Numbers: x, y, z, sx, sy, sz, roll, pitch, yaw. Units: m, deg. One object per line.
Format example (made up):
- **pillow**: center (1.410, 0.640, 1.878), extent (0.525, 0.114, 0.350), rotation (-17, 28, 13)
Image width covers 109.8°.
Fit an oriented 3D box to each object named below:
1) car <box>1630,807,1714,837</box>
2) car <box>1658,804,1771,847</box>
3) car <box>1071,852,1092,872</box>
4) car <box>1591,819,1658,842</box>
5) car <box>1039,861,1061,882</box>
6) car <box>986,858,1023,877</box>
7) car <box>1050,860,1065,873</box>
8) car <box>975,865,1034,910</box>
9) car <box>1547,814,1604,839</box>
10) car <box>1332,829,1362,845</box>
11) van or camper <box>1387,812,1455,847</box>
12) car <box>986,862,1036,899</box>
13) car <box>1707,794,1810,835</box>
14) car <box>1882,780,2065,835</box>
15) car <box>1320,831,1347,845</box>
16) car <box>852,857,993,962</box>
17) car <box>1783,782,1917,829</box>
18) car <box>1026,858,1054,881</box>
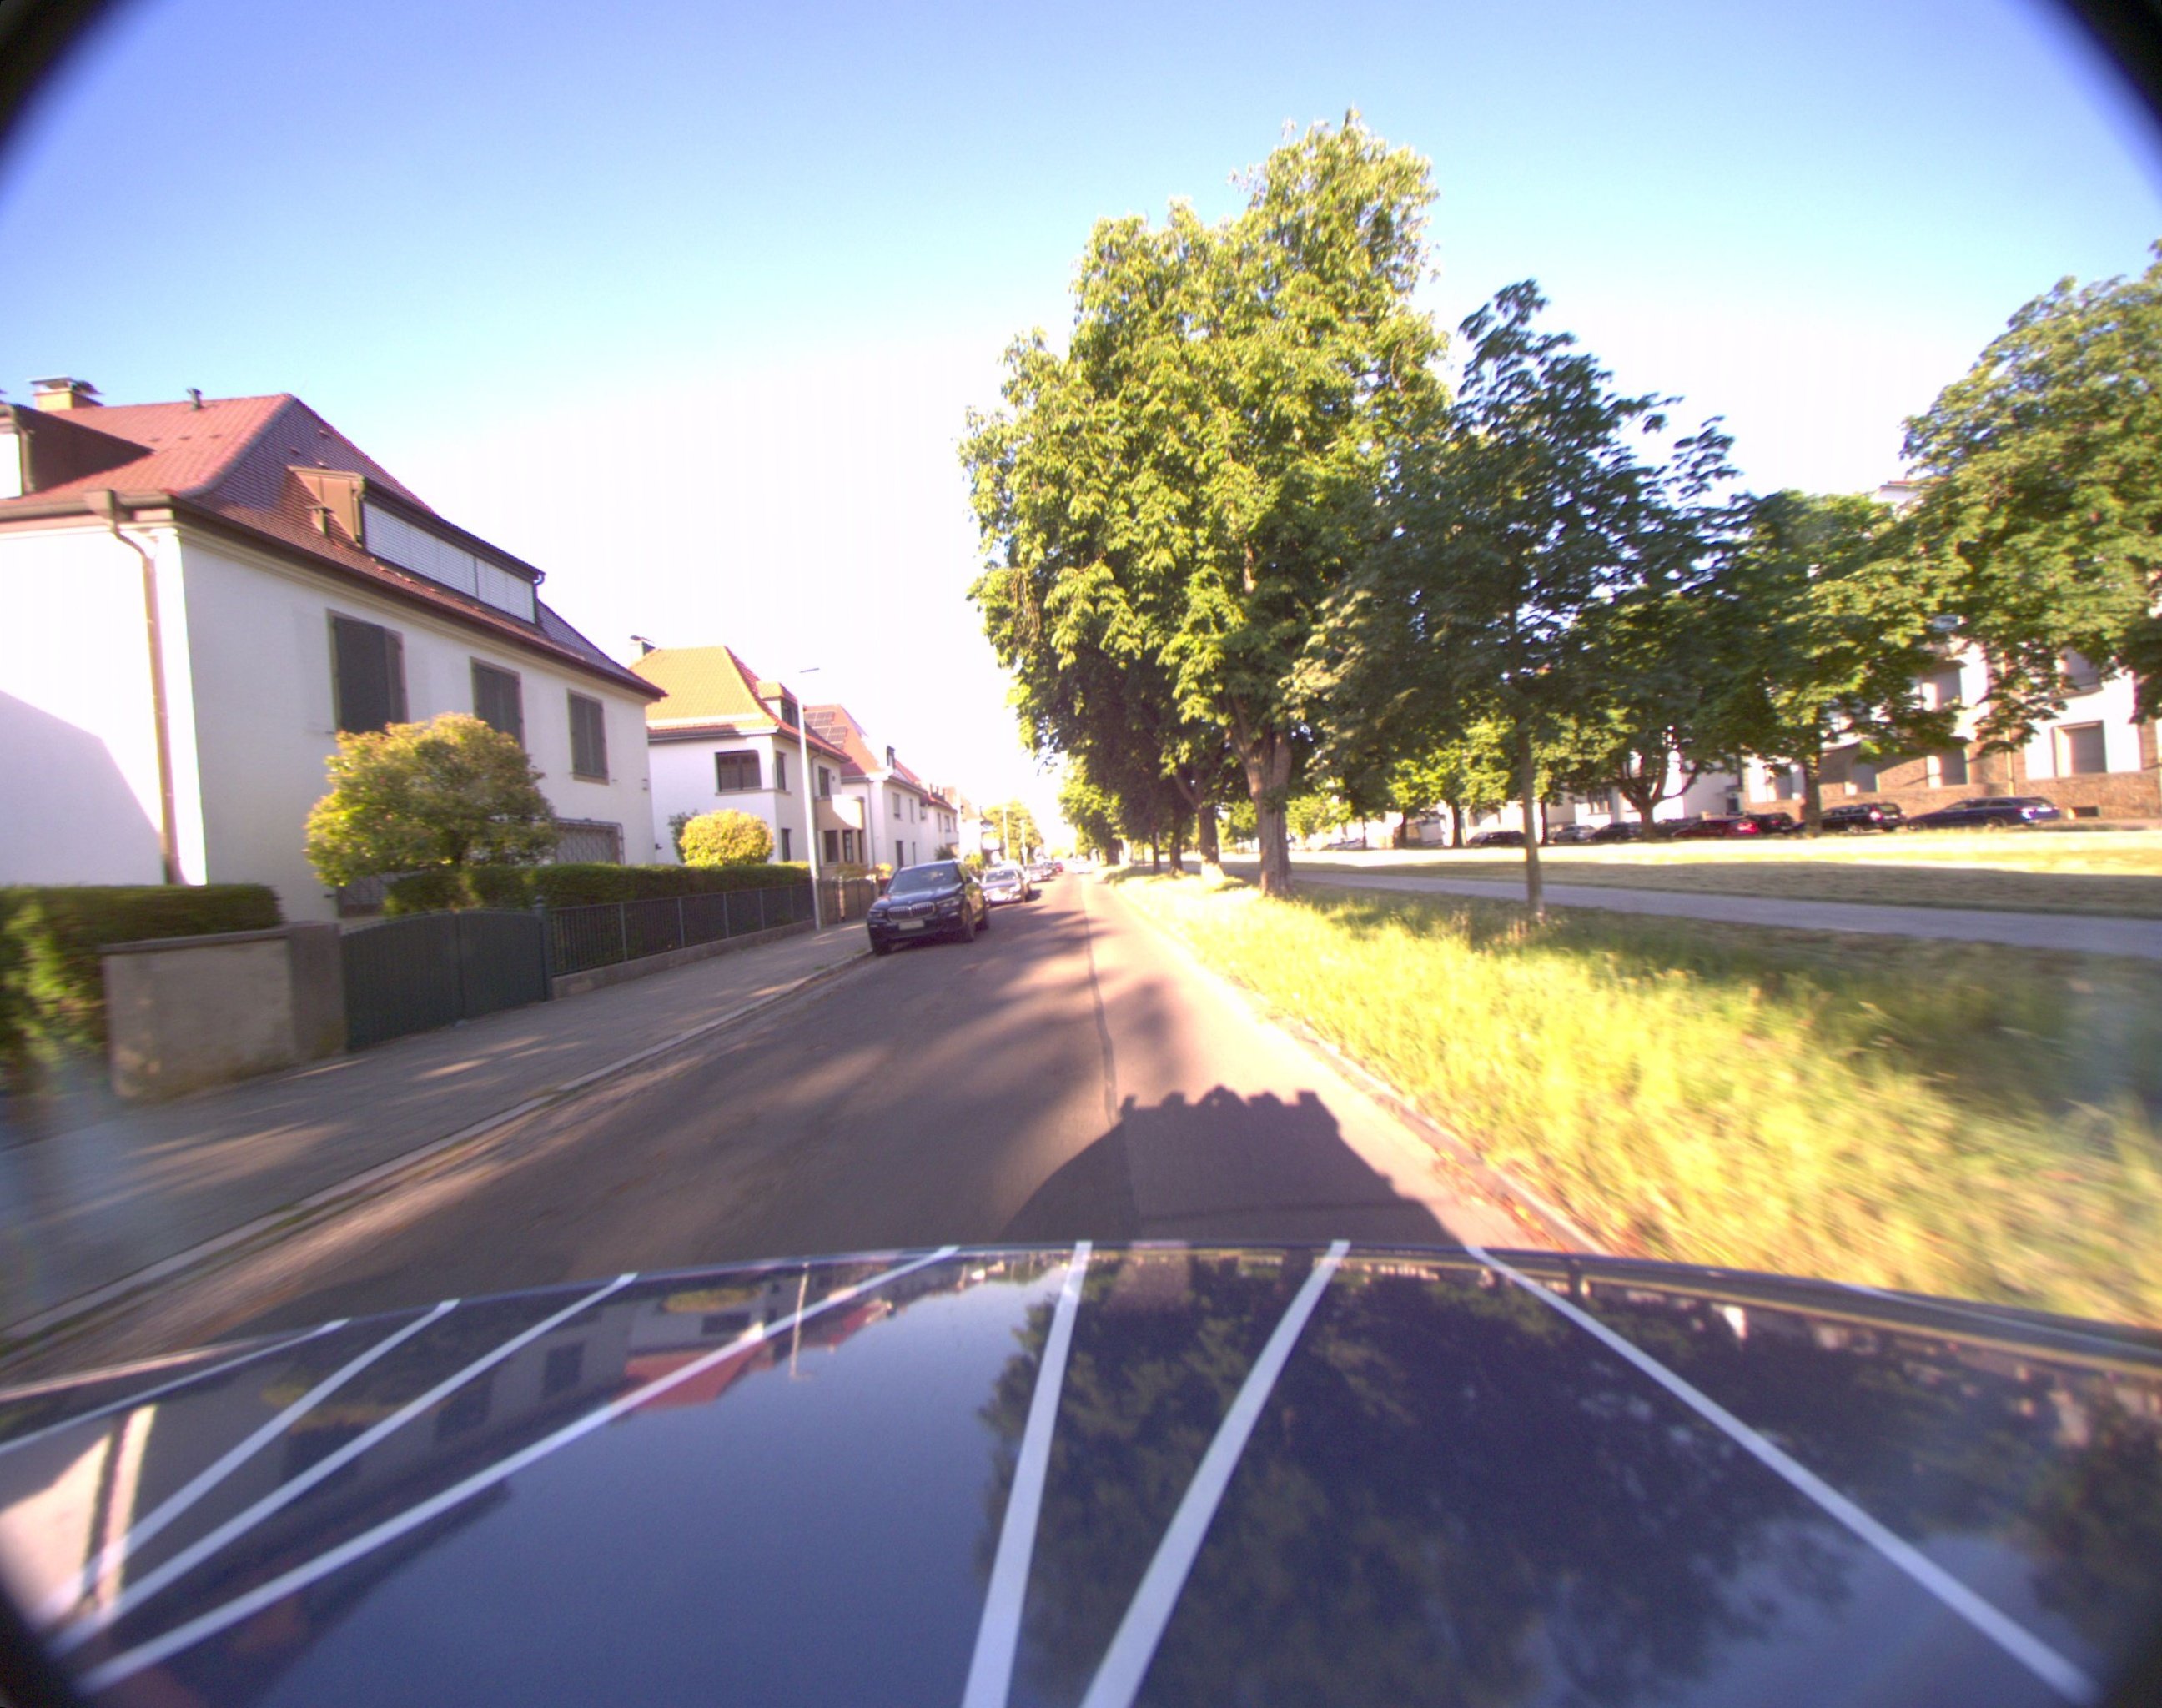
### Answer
- **car**: center (39.590, -2.120, 51.053), extent (1.999, 1.643, 4.429), rotation (-4, 0, -1)
- **car**: center (33.940, -1.445, 40.923), extent (1.998, 2.002, 4.876), rotation (-4, 0, 2)
- **car**: center (0.056, 0.826, 81.250), extent (1.998, 2.002, 4.000), rotation (-4, 0, 0)
- **car**: center (39.998, -1.693, 56.027), extent (1.998, 1.421, 4.170), rotation (-4, -1, 2)
- **car**: center (-3.024, 1.675, 74.288), extent (1.863, 1.710, 4.467), rotation (-9, 0, -2)
- **car**: center (-8.624, 1.530, 85.855), extent (3.998, 1.916, 2.000), rotation (-4, 0, -3)
- **car**: center (-3.095, 1.619, 100.342), extent (1.824, 1.486, 4.224), rotation (-4, 0, -1)
- **car**: center (-3.011, 1.283, 30.693), extent (1.784, 1.454, 4.594), rotation (-6, 0, 0)
- **car**: center (39.601, -2.141, 60.943), extent (1.998, 1.724, 4.001), rotation (-4, 0, 2)
- **car**: center (33.674, -2.137, 96.373), extent (1.998, 1.680, 4.876), rotation (-4, 0, 1)
- **van or camper**: center (34.085, -2.398, 76.572), extent (3.262, 3.092, 7.897), rotation (-4, 0, 1)
- **car**: center (-3.340, 1.228, 37.049), extent (1.999, 1.455, 4.549), rotation (-7, 0, -2)
- **car**: center (39.647, -2.268, 44.630), extent (1.999, 2.002, 4.429), rotation (-4, 0, -1)
- **car**: center (39.492, -1.974, 33.863), extent (2.000, 1.738, 5.007), rotation (5, -3, -6)
- **car**: center (33.844, -2.126, 102.037), extent (1.998, 1.680, 4.876), rotation (-4, 0, 1)
- **car**: center (-3.255, 1.060, 16.727), extent (1.999, 1.727, 4.863), rotation (-7, 0, -1)
- **car**: center (39.692, -2.430, 39.425), extent (1.998, 2.002, 4.876), rotation (-4, 0, 2)
- **car**: center (-3.040, 1.154, 56.771), extent (1.784, 1.490, 4.397), rotation (-6, 0, -2)
